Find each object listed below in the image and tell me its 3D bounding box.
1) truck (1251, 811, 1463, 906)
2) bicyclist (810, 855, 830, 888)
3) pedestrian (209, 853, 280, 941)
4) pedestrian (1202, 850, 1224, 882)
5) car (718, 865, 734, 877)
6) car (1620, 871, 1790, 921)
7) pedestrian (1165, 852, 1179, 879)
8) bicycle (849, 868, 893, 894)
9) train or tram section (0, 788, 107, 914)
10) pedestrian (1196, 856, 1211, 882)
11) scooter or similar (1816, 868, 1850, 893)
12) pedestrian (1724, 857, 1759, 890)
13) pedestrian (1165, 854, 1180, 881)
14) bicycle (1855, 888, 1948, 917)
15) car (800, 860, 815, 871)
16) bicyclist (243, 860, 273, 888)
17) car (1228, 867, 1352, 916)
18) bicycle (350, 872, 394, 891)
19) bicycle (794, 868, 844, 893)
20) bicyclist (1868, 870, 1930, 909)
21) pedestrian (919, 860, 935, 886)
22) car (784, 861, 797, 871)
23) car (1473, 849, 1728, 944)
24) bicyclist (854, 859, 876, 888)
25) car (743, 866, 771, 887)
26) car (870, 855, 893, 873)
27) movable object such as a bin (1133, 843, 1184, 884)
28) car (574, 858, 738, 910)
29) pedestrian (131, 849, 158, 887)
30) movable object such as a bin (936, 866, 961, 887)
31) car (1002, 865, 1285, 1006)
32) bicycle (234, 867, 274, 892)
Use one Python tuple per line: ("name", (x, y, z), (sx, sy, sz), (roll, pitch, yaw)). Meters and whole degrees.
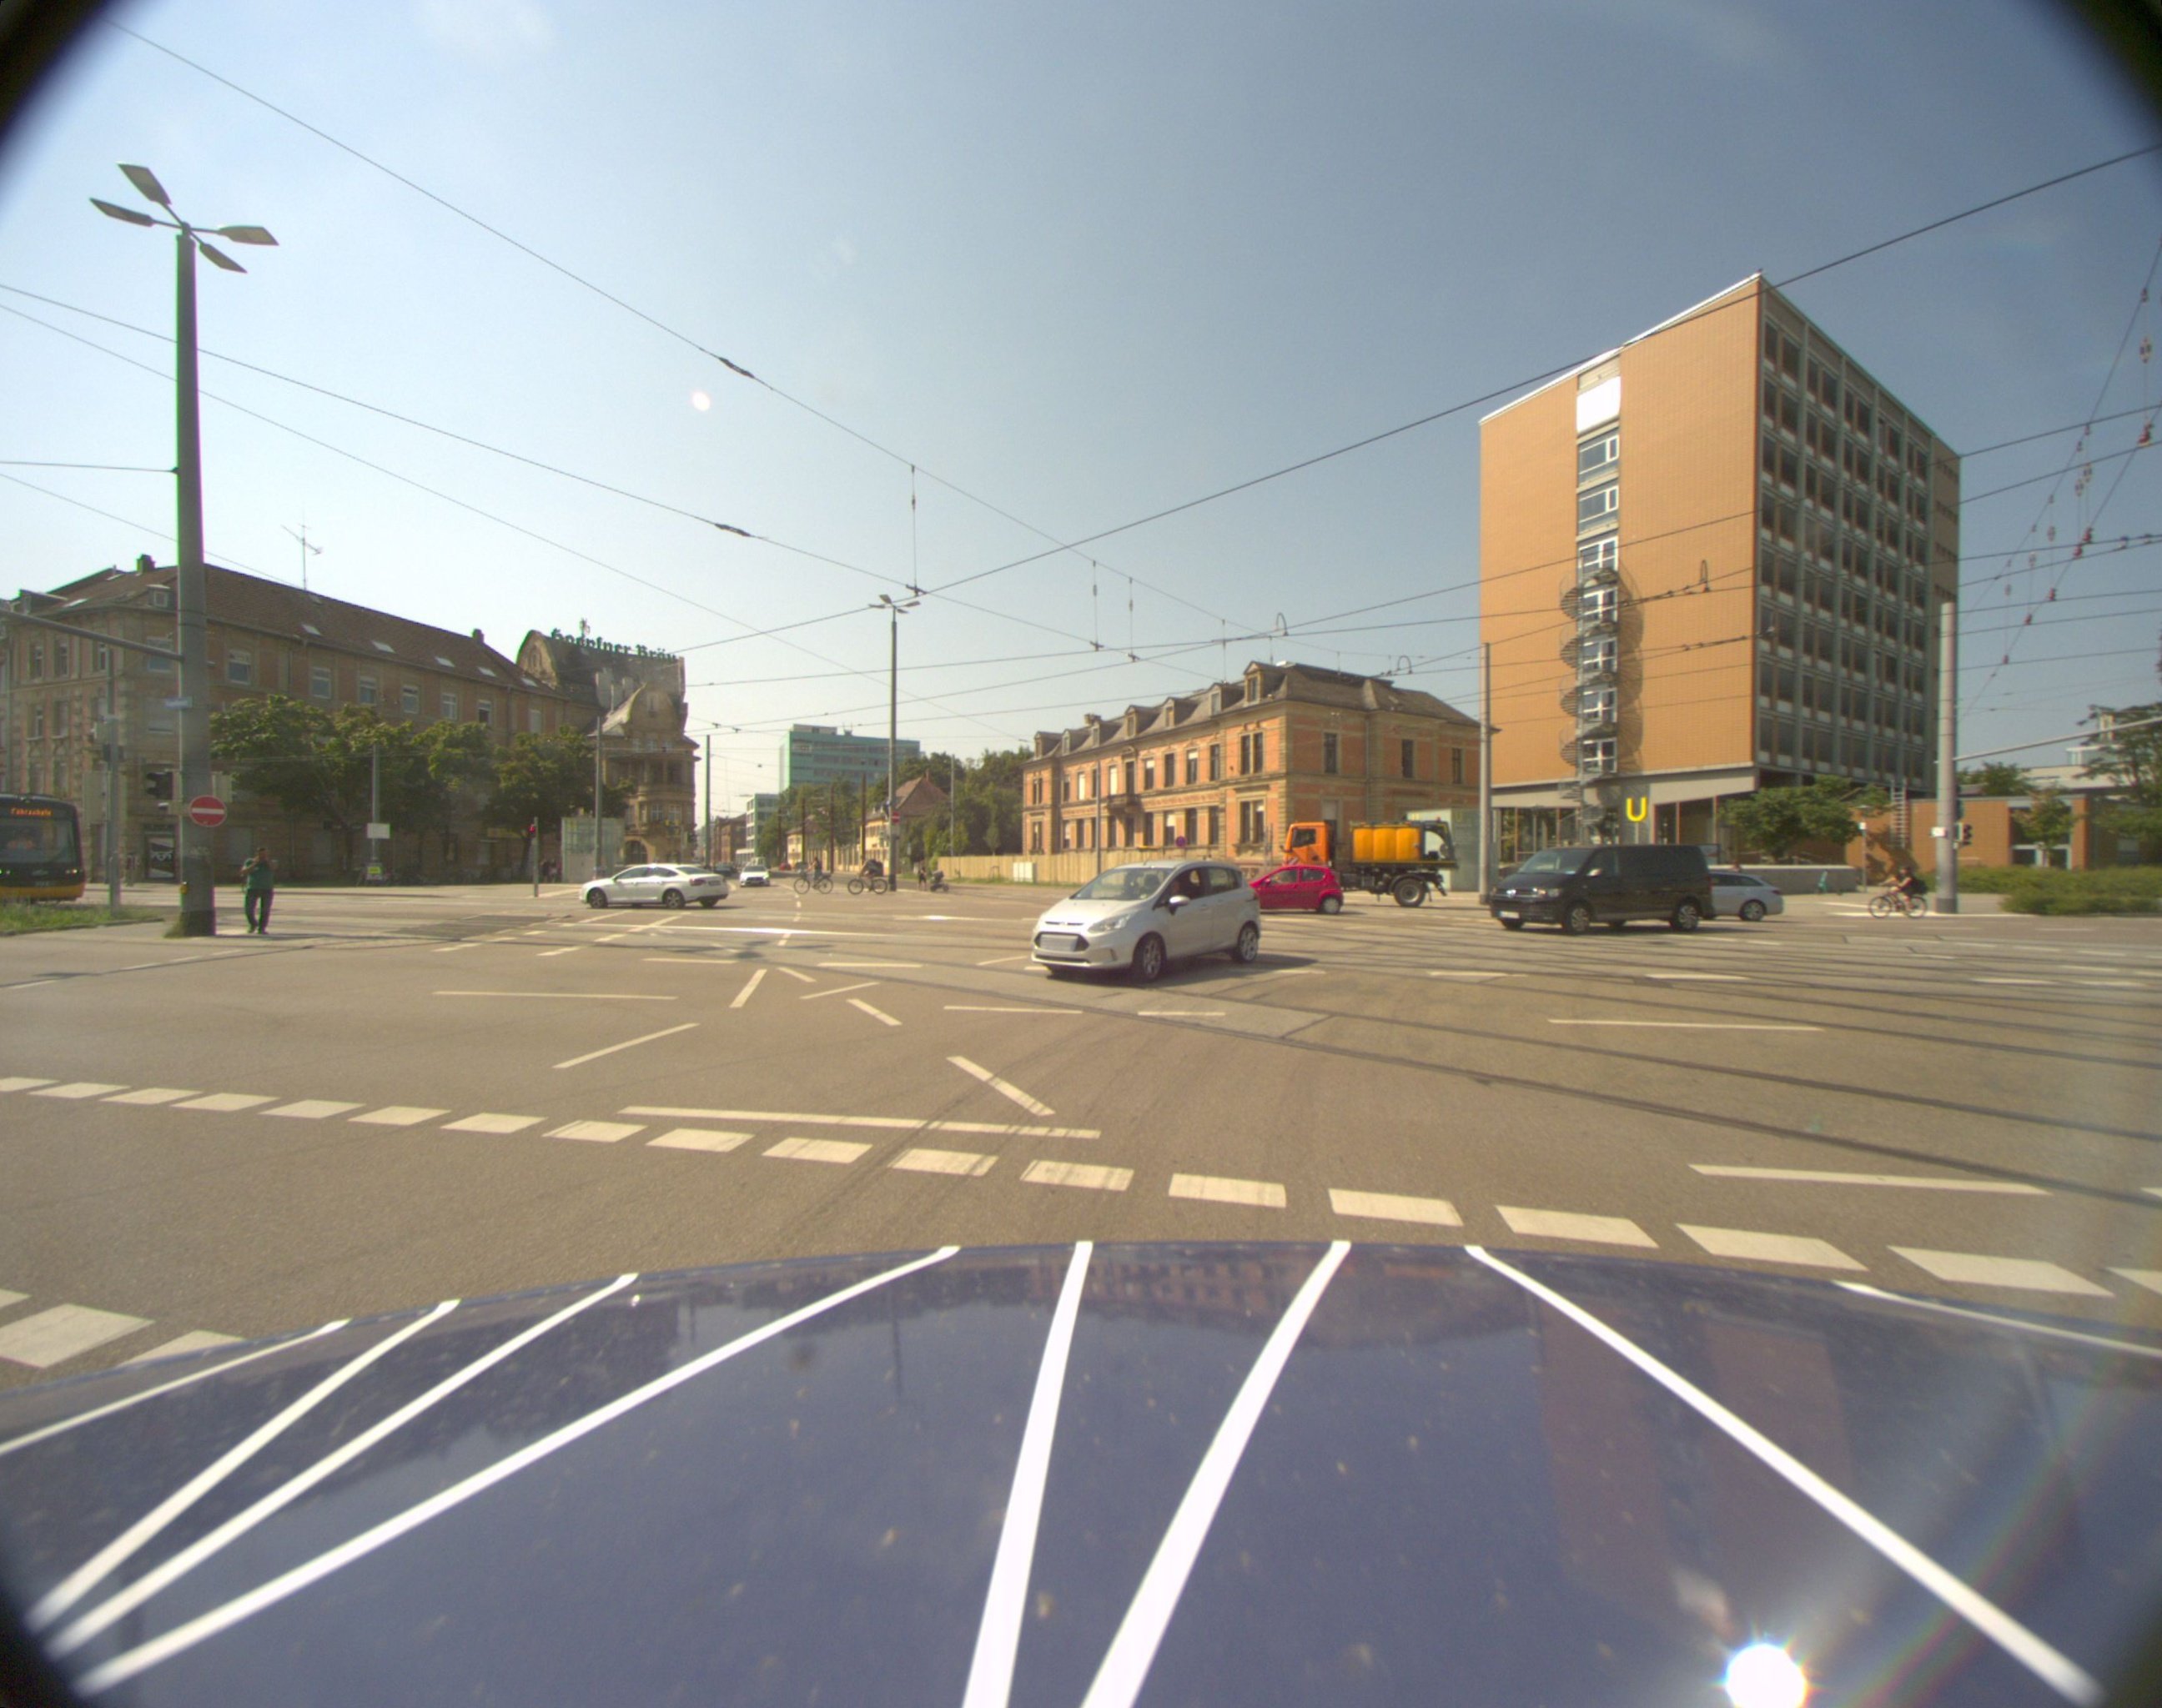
("truck", (10.356, 0.266, 28.688), (7.173, 3.209, 3.048), (-1, -2, 25))
("bicyclist", (-11.821, 0.803, 34.442), (0.643, 1.472, 0.658), (0, 0, 5))
("pedestrian", (-16.523, 0.826, 15.027), (0.806, 1.677, 0.717), (1, -1, -38))
("pedestrian", (7.608, 0.666, 43.764), (1.036, 1.802, 0.686), (0, 0, 29))
("car", (-41.970, 1.974, 89.799), (1.377, 1.389, 3.249), (1, -2, -31))
("car", (17.681, 1.167, 21.642), (3.504, 1.330, 1.518), (0, 0, 4))
("pedestrian", (5.741, 0.732, 47.801), (0.684, 1.662, 0.686), (0, 0, 29))
("bicycle", (-9.165, 1.154, 33.145), (1.857, 1.105, 0.712), (0, 0, -18))
("train or tram section", (-36.050, -0.093, 23.593), (12.193, 3.539, 2.599), (0, 0, 15))
("pedestrian", (7.818, 0.931, 48.481), (0.684, 1.662, 0.686), (0, 0, 29))
("scooter or similar", (34.388, 1.212, 34.738), (1.145, 1.150, 0.443), (0, 0, -3))
("pedestrian", (28.264, 0.828, 32.529), (0.849, 1.386, 0.786), (0, 0, -15))
("pedestrian", (5.784, 0.831, 47.930), (0.684, 1.662, 0.686), (0, 0, 29))
("bicycle", (26.806, 1.573, 24.843), (2.167, 0.893, 0.642), (0, 0, 6))
("car", (-46.949, 1.976, 130.421), (2.003, 1.673, 3.993), (0, -2, -26))
("bicyclist", (-37.135, 0.890, 34.274), (0.643, 1.246, 0.658), (0, 0, 5))
("car", (6.177, 1.089, 22.695), (3.355, 1.400, 1.518), (0, 0, 4))
("bicycle", (-37.264, 1.418, 39.961), (0.461, 0.952, 1.790), (0, 0, 9))
("bicycle", (-11.871, 1.196, 34.442), (2.126, 1.105, 0.441), (1, 0, 4))
("bicyclist", (26.848, 1.153, 24.959), (1.104, 1.258, 0.857), (0, 0, 6))
("pedestrian", (-8.118, 0.985, 40.093), (0.816, 1.343, 0.719), (0, 0, -9))
("car", (-55.877, 2.380, 145.975), (2.003, 1.892, 3.993), (0, -2, -26))
("car", (11.571, 0.853, 17.008), (4.887, 1.920, 1.898), (0, 1, -14))
("bicyclist", (-9.409, 0.842, 33.084), (0.865, 1.226, 1.100), (0, 0, -17))
("car", (-21.145, 1.444, 49.685), (1.590, 1.280, 3.721), (0, -1, -22))
("car", (-23.281, 1.153, 88.637), (2.002, 2.001, 3.993), (0, -2, -23))
("movable object such as a bin", (5.155, 0.618, 51.105), (1.820, 2.656, 4.448), (0, 0, -18))
("car", (-13.837, 0.937, 24.814), (4.595, 1.609, 1.773), (0, 0, 11))
("pedestrian", (-49.770, 0.719, 40.366), (0.702, 2.002, 0.651), (0, 0, 12))
("movable object such as a bin", (-6.983, 1.208, 40.010), (1.036, 1.078, 0.822), (-1, -2, 24))
("car", (1.089, 0.976, 10.997), (1.688, 1.585, 4.370), (0, 0, 44))
("bicycle", (-37.422, 1.153, 34.383), (1.640, 1.105, 0.441), (0, 0, 11))
